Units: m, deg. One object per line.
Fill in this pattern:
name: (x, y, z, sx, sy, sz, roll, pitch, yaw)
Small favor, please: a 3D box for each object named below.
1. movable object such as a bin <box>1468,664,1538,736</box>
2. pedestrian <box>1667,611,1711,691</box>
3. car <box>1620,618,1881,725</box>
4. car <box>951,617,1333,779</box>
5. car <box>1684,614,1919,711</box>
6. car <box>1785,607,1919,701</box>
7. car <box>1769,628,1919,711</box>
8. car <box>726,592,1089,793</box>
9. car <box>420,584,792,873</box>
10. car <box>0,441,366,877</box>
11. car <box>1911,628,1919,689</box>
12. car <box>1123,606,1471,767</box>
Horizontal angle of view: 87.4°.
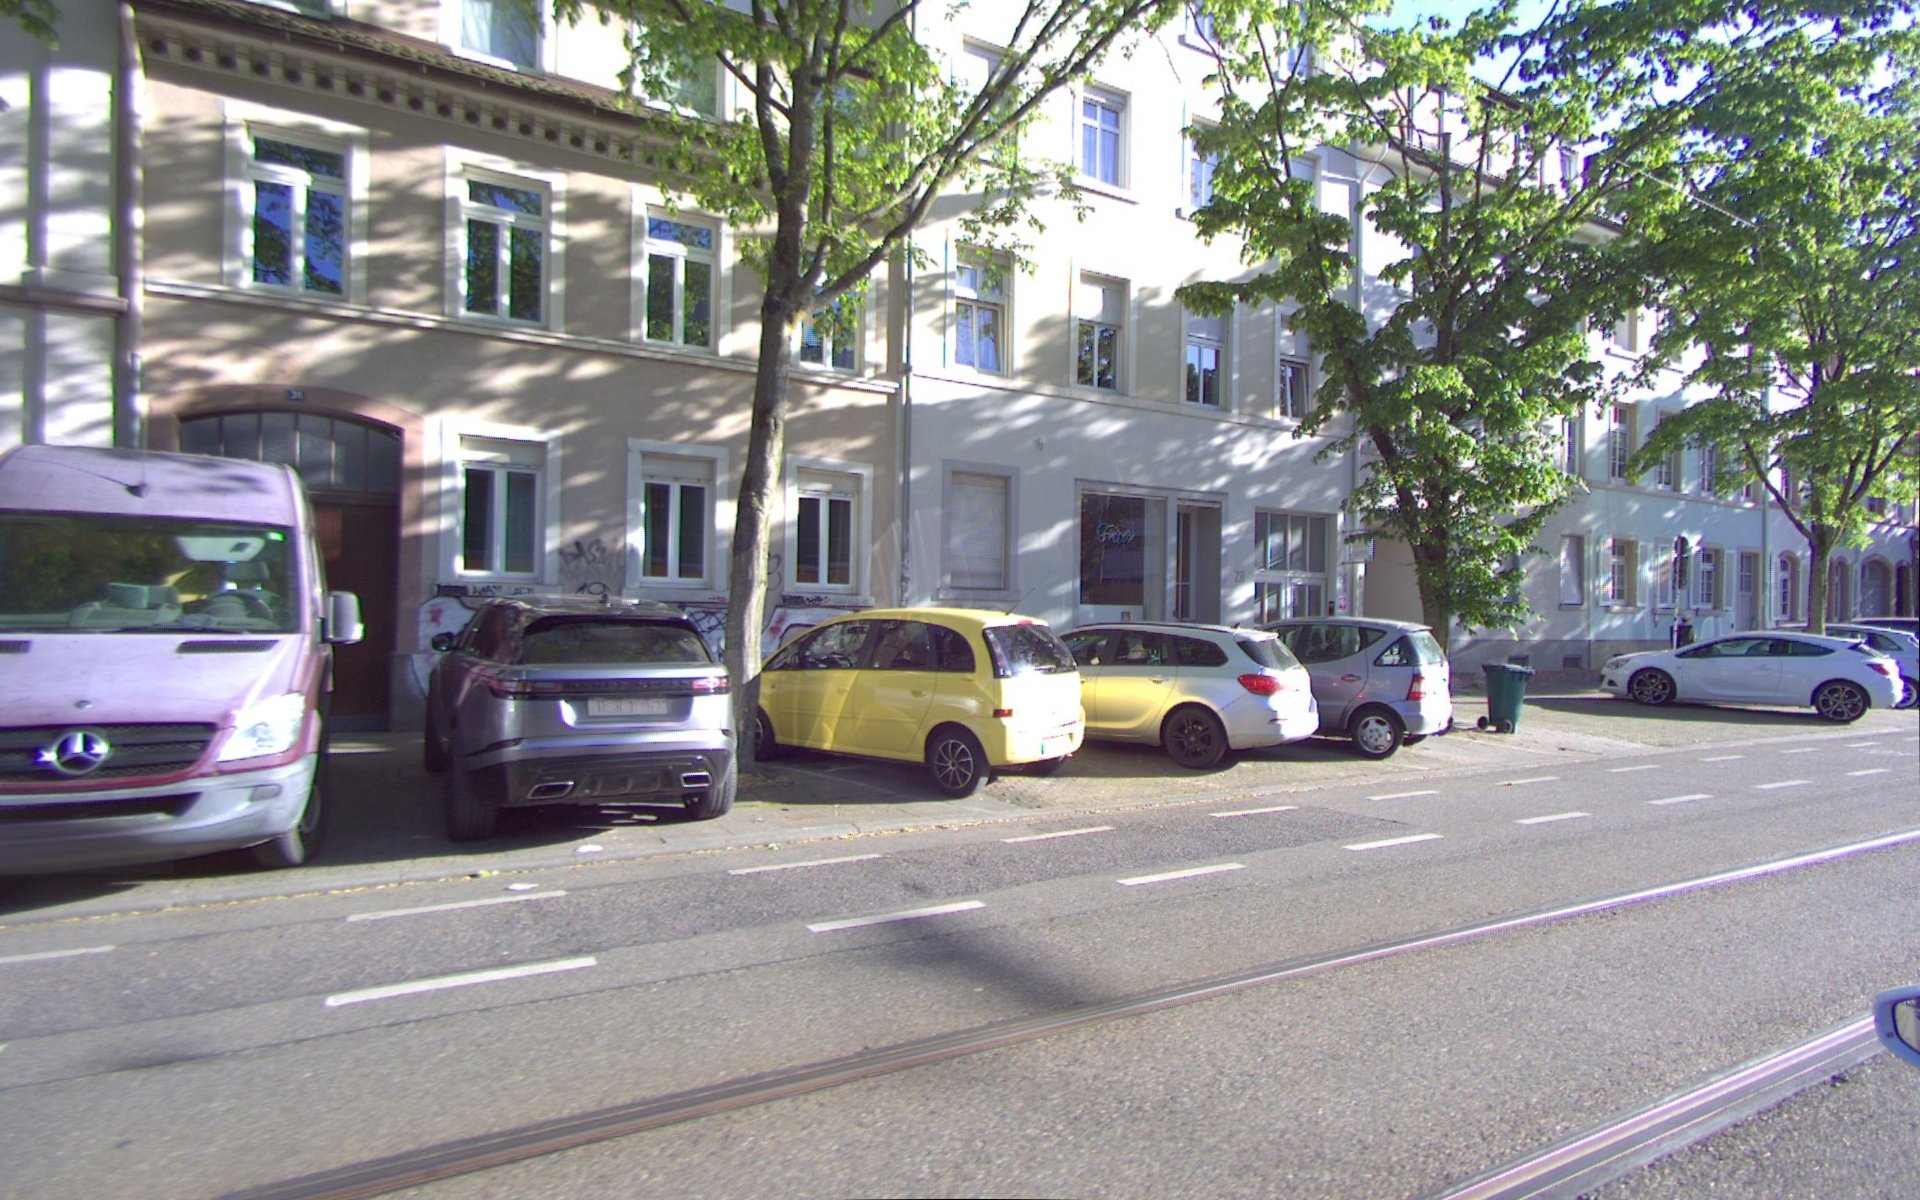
movable object such as a bin: (7.719, 1.406, 14.286, 0.662, 0.957, 0.618, 1, 0, -30)
pedestrian: (17.261, 1.196, 23.791, 0.616, 1.862, 0.641, 1, -1, -27)
car: (14.550, 1.244, 18.615, 3.595, 1.550, 1.877, 4, 1, 42)
car: (2.008, 0.998, 11.752, 4.109, 1.573, 1.695, -1, -2, 40)
car: (17.876, 1.253, 21.247, 3.930, 1.679, 1.806, 3, 2, 32)
car: (20.466, 1.233, 21.965, 3.383, 1.867, 1.731, 4, -1, 28)
car: (22.584, 1.643, 23.862, 4.848, 1.818, 2.207, 1, -1, 26)
car: (-0.577, 0.885, 10.085, 3.318, 1.571, 1.383, 3, -9, 34)
car: (-3.351, 0.805, 8.716, 2.139, 1.747, 4.804, 1, -1, -31)
car: (-5.458, 0.292, 7.083, 2.139, 2.146, 4.414, 1, 0, -31)
car: (27.132, 1.545, 25.632, 3.828, 1.630, 1.572, 0, -2, 25)
car: (4.250, 0.977, 13.062, 3.945, 1.699, 1.692, 1, 0, 44)
